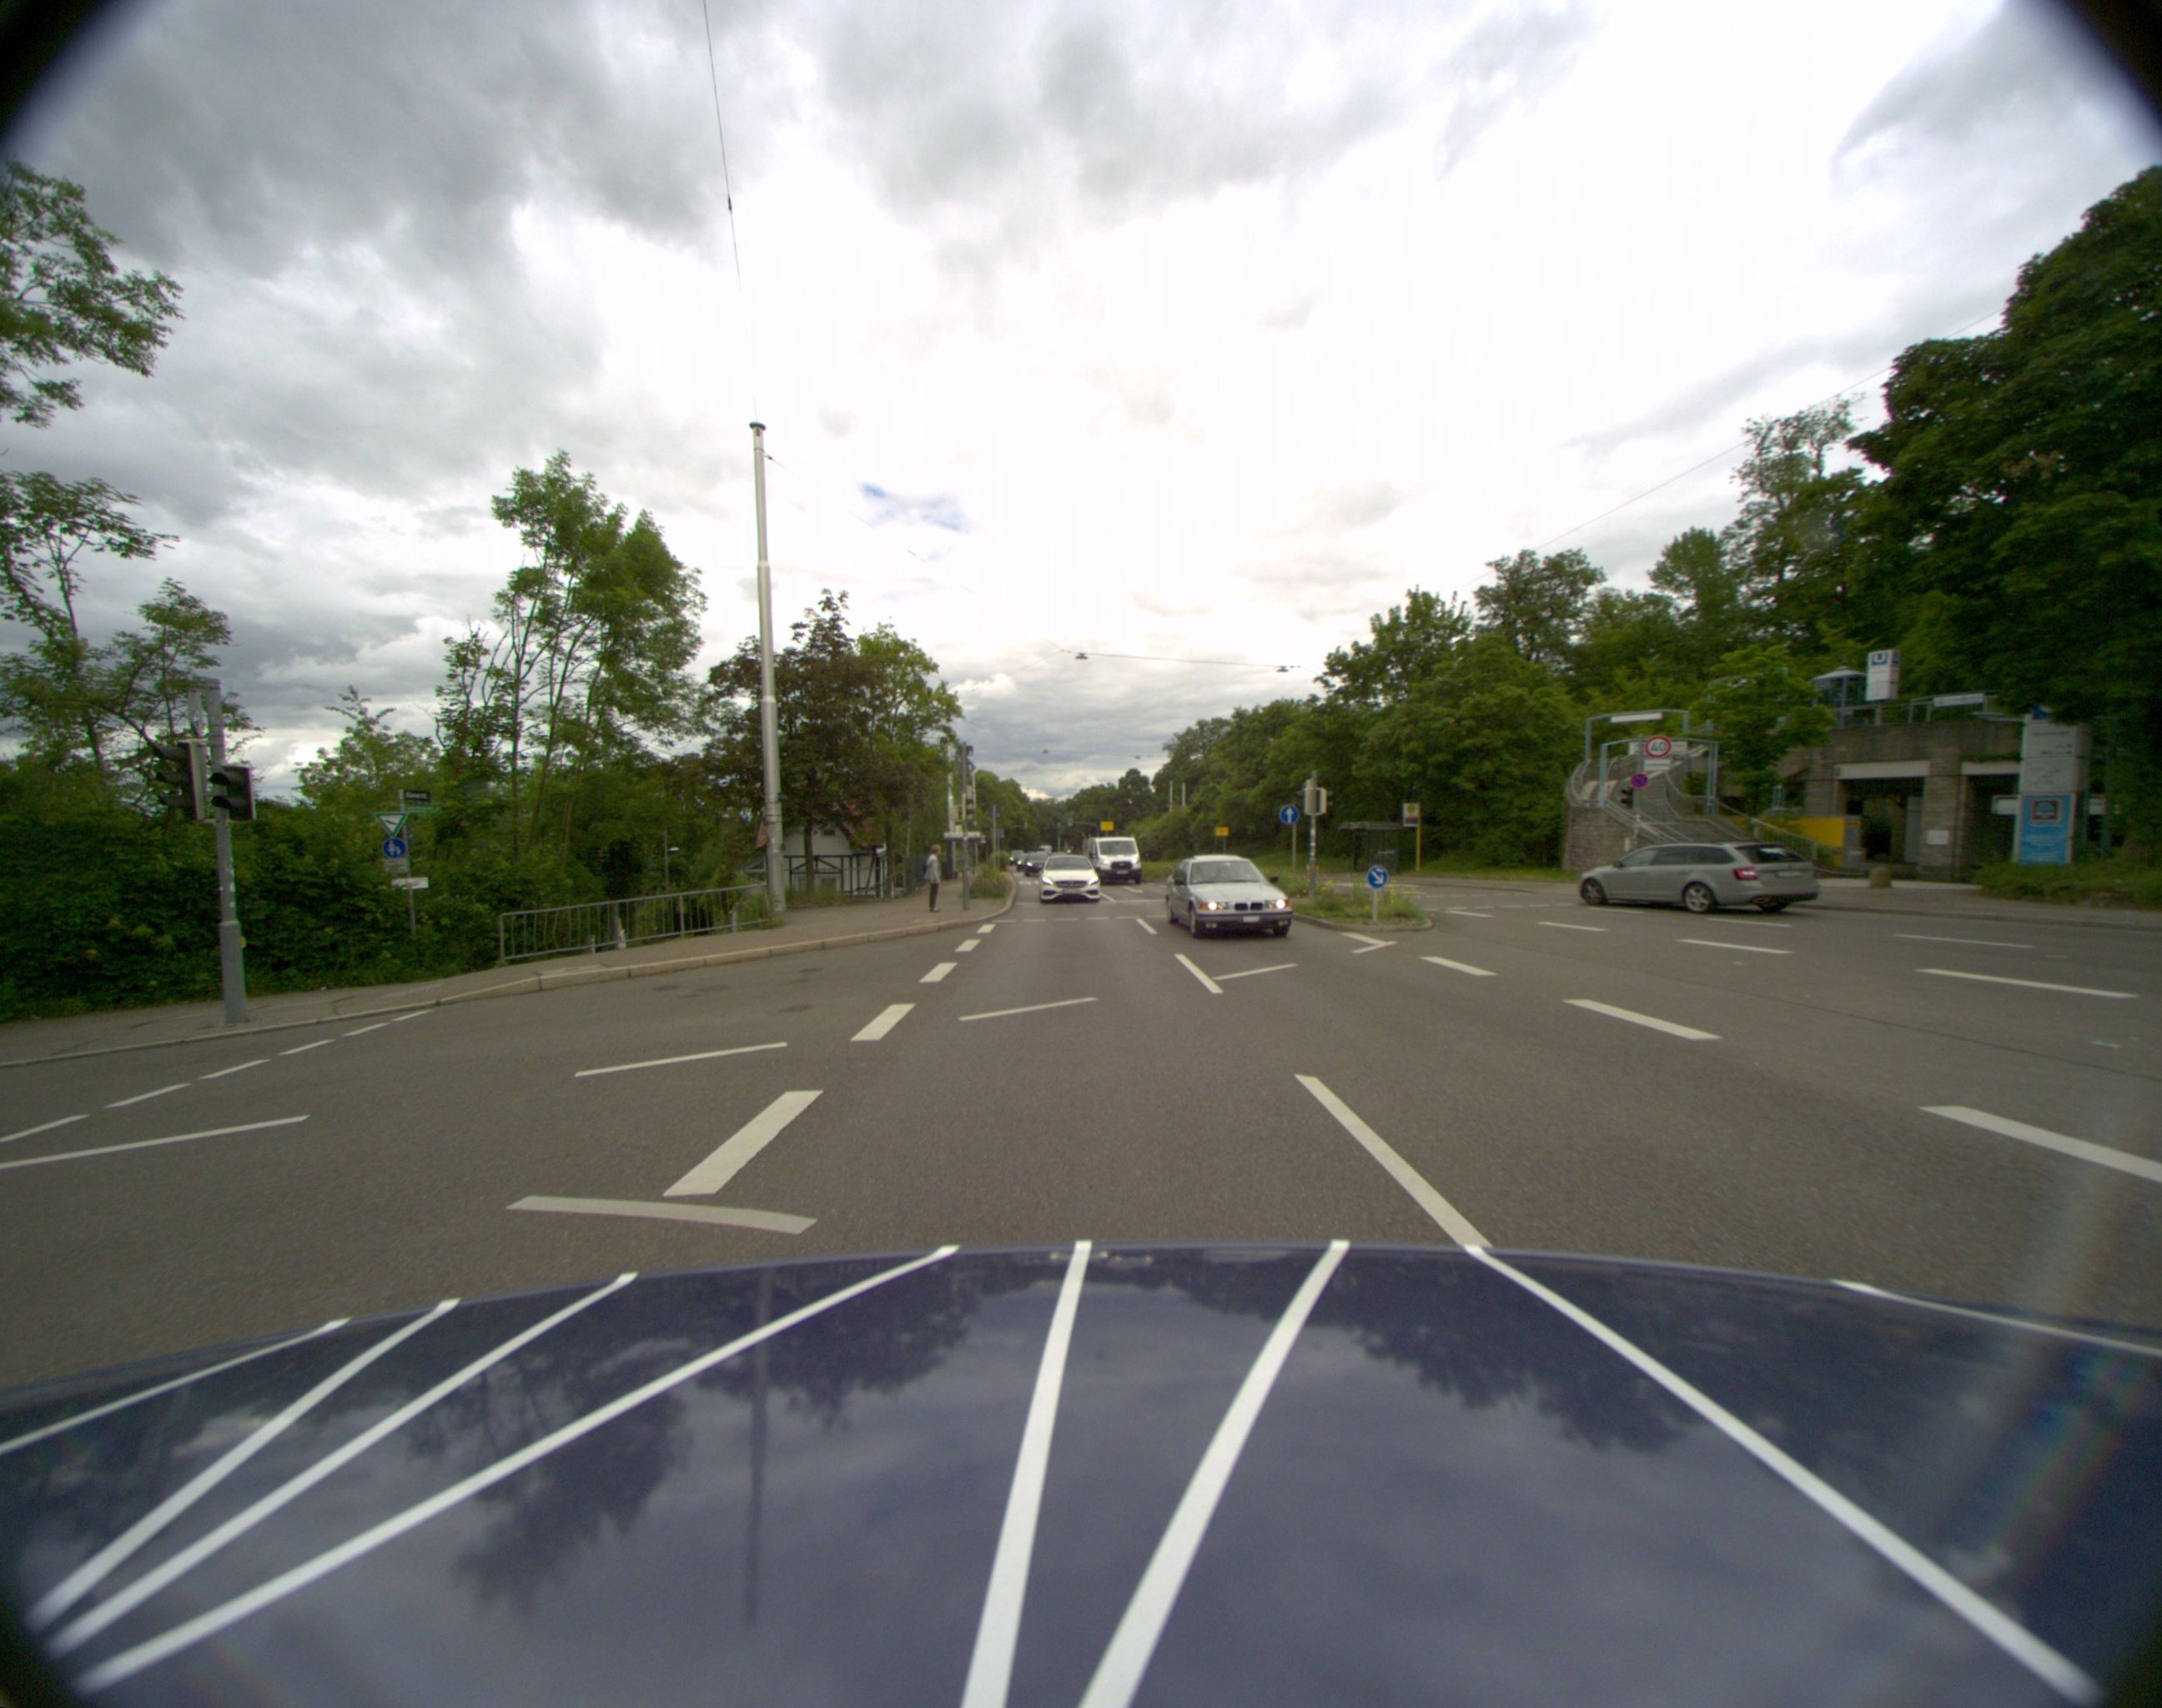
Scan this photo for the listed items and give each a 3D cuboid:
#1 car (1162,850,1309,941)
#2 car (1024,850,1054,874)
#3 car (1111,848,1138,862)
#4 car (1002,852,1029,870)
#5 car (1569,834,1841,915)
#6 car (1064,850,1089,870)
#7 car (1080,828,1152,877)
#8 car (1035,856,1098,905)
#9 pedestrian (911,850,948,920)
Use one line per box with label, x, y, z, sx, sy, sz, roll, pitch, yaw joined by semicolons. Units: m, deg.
car;2.674;0.631;14.195;1.757;1.385;4.614;-1;0;0
car;-2.838;0.492;50.338;1.679;1.532;4.611;0;0;-7
car;4.304;0.092;76.527;1.723;1.385;4.604;0;0;-10
car;-5.535;0.546;63.658;1.809;1.385;4.279;-1;0;-11
car;12.903;0.364;16.175;1.656;1.440;4.563;-2;0;-8
car;-0.382;0.475;60.144;1.678;1.532;4.551;0;0;-4
car;1.540;-0.094;36.611;2.254;2.113;6.664;-1;0;-8
car;-0.366;0.782;24.095;1.807;1.385;4.284;0;0;1
pedestrian;-3.754;0.760;18.832;0.694;1.679;0.620;1;2;14
